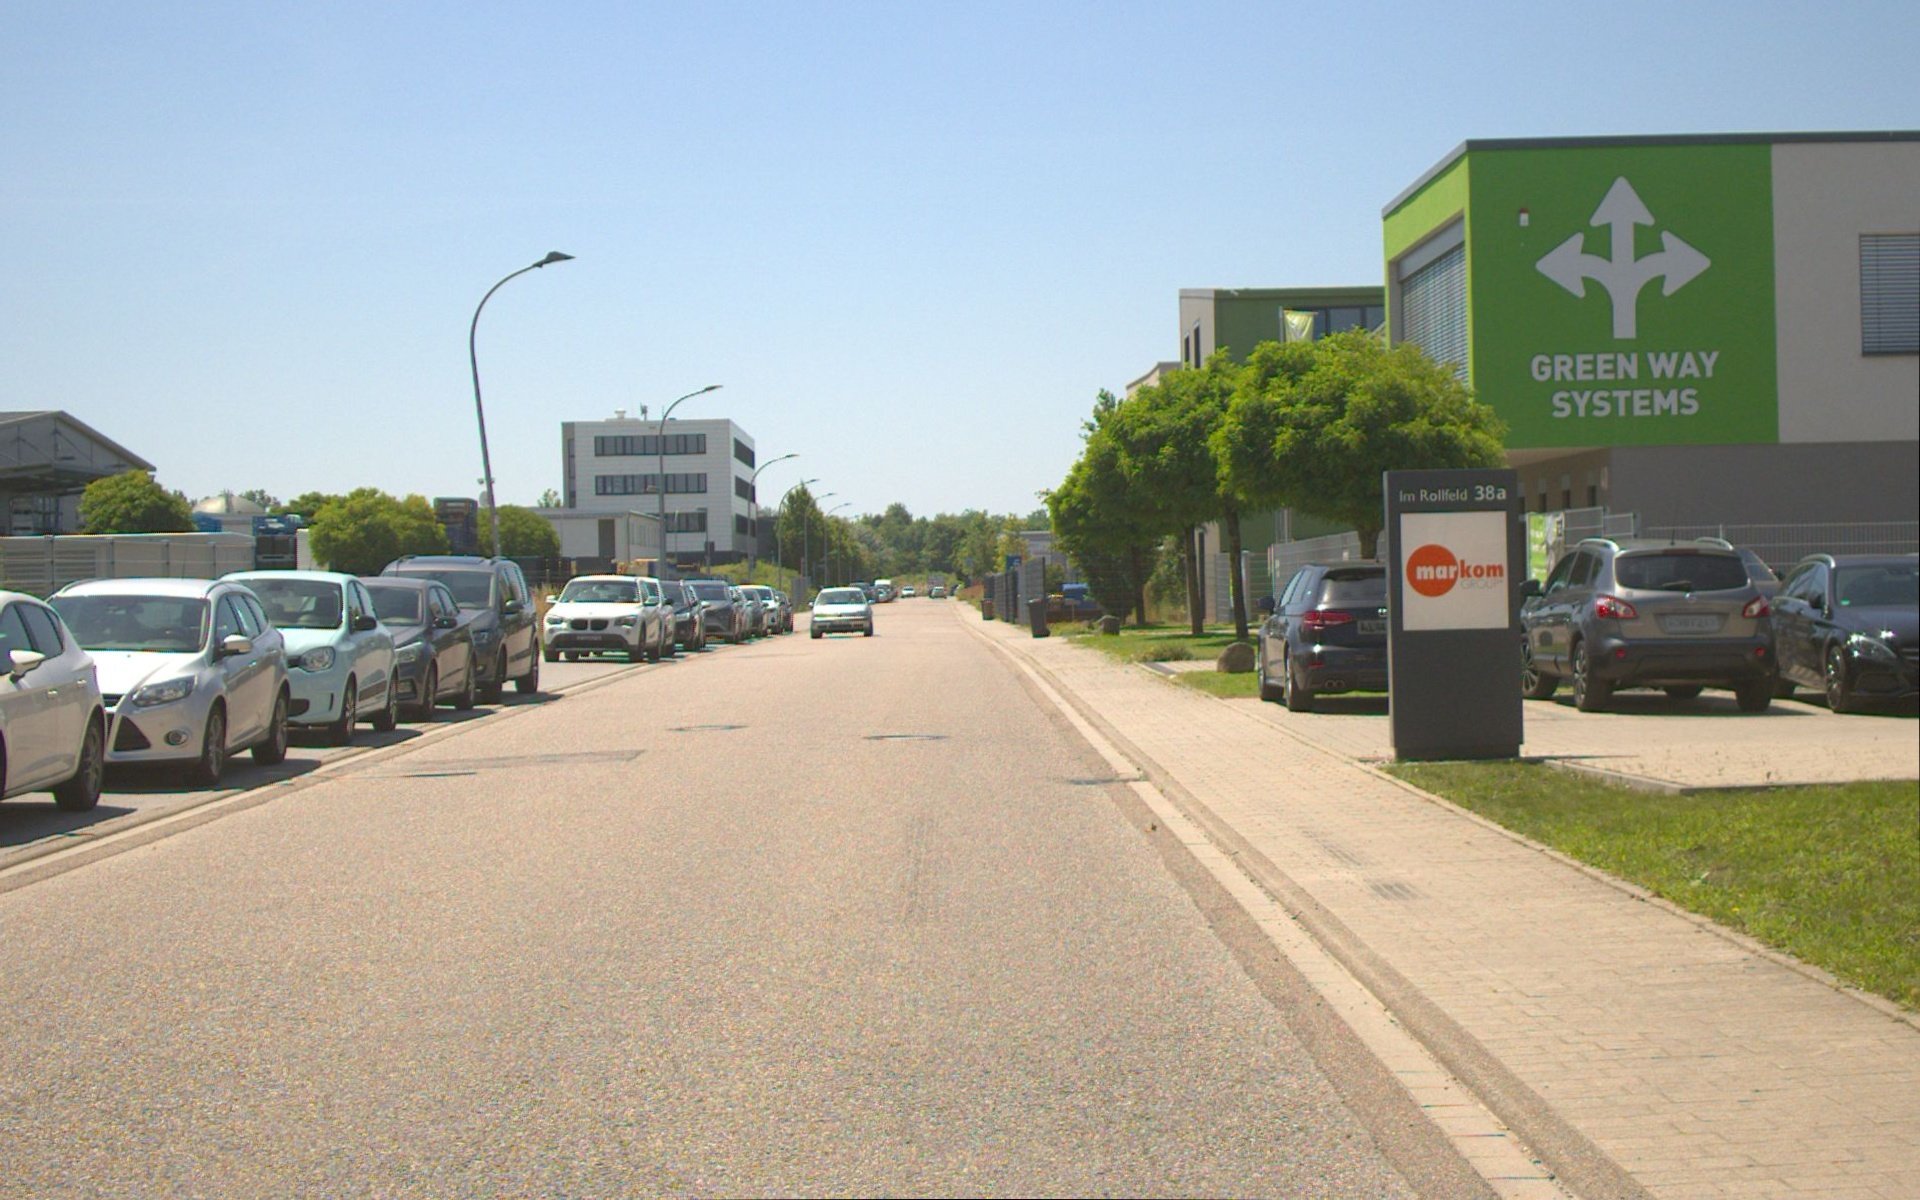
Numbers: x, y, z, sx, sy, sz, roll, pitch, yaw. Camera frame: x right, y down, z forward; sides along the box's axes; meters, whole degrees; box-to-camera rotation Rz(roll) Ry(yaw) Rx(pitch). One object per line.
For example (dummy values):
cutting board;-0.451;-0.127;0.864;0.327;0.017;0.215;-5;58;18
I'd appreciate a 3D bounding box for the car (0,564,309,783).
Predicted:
car;-6.240;0.494;26.415;1.703;1.531;4.572;0;1;-1

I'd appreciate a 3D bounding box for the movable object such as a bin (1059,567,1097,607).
movable object such as a bin;4.438;-0.495;129.514;1.334;1.454;0.949;-2;0;-1

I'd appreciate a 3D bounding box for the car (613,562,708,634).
car;-6.501;-0.053;75.008;1.763;1.512;4.380;0;0;-1

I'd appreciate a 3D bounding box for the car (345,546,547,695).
car;-6.207;0.204;41.961;1.802;1.714;4.622;0;1;0

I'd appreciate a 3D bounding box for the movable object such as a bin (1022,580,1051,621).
movable object such as a bin;1.845;0.011;82.911;0.552;0.925;0.521;-5;0;10

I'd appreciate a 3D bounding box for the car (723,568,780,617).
car;-6.879;-0.242;113.737;1.769;1.587;4.360;0;0;-2

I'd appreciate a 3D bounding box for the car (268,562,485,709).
car;-6.250;0.340;37.183;1.634;1.495;3.971;0;1;0

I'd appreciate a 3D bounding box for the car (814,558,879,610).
car;-3.268;-0.479;99.823;1.704;1.406;4.784;-3;1;-1

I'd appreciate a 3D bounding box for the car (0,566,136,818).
car;-6.393;0.516;21.084;1.703;1.439;4.440;0;1;-1

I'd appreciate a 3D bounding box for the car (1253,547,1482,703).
car;3.923;0.208;33.688;1.692;1.423;4.246;0;1;0

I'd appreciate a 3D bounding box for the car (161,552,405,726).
car;-6.256;0.320;32.102;1.634;1.531;3.658;0;1;-1

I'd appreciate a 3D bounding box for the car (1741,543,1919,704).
car;8.790;0.183;32.831;1.723;1.444;4.022;0;1;0

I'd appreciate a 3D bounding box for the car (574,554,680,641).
car;-6.513;-0.057;67.542;1.787;1.651;3.769;0;0;-1

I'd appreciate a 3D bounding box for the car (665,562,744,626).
car;-6.537;-0.166;88.240;1.790;1.601;4.463;0;0;-1

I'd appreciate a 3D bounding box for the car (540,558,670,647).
car;-6.369;0.029;62.087;1.787;1.537;4.364;0;0;1

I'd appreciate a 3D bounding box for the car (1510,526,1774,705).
car;6.536;0.121;33.318;1.723;1.627;4.022;0;1;0
